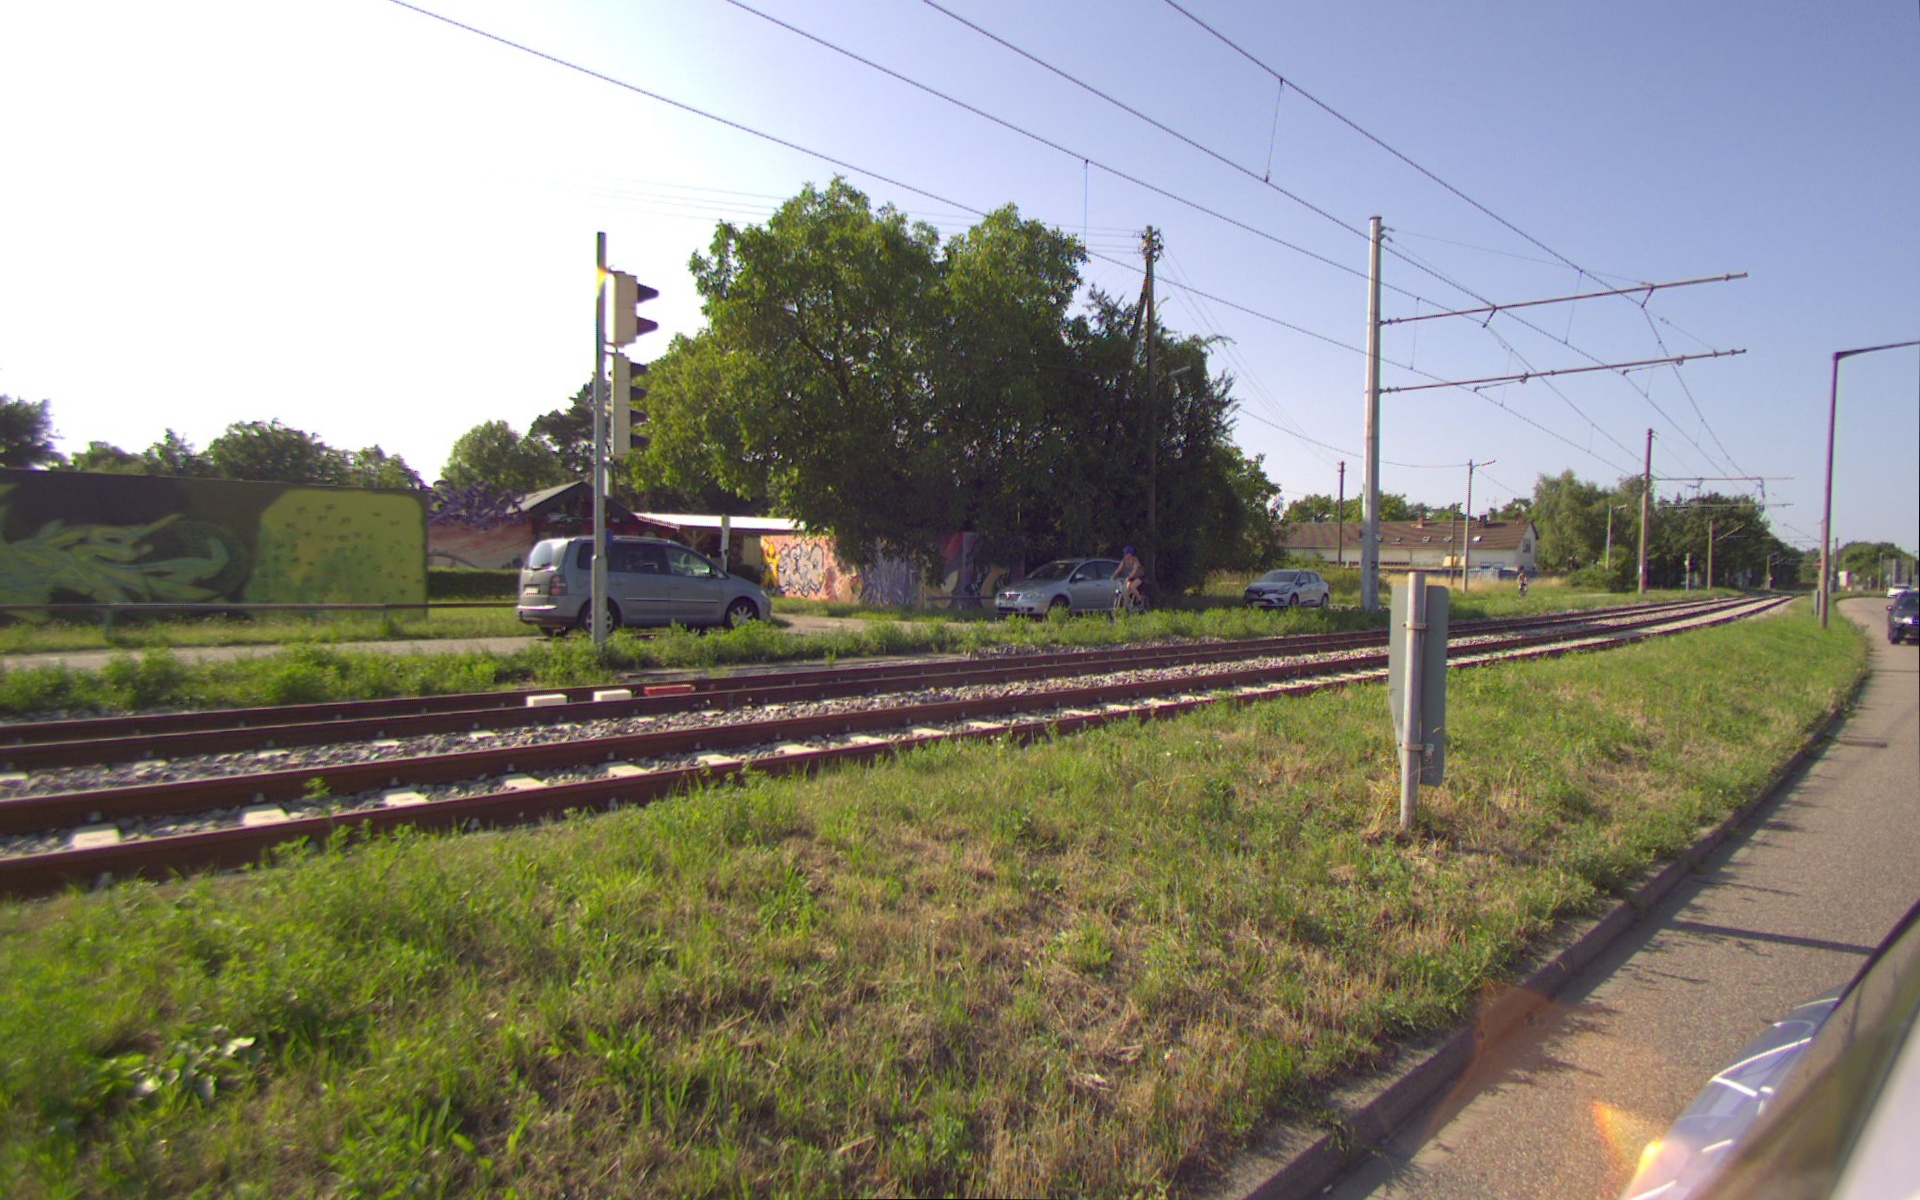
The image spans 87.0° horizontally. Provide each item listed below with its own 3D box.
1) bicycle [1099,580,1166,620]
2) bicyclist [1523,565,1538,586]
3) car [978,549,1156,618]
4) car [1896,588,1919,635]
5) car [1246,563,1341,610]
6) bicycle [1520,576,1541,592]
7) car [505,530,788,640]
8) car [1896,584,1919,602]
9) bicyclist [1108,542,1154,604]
[{"bbox_3d":[4.120,-0.020,24.104,1.814,0.921,0.643,-1,1,-45],"label":"bicycle"},{"bbox_3d":[34.339,-1.456,60.910,0.639,1.248,0.778,1,1,44],"label":"bicyclist"},{"bbox_3d":[2.822,-0.426,26.002,4.645,1.610,1.911,0,2,-41],"label":"car"},{"bbox_3d":[30.031,0.332,30.991,4.087,1.372,1.844,0,0,-45],"label":"car"},{"bbox_3d":[11.456,-0.467,34.601,1.534,1.466,4.068,3,2,42],"label":"car"},{"bbox_3d":[34.356,-0.976,60.963,0.643,0.921,1.784,1,1,44],"label":"bicycle"},{"bbox_3d":[-5.193,-0.271,17.235,1.523,1.630,4.413,3,2,44],"label":"car"},{"bbox_3d":[92.400,-0.705,98.392,1.963,1.639,4.241,2,2,43],"label":"car"},{"bbox_3d":[4.067,-0.630,24.043,0.946,1.440,0.630,0,1,-44],"label":"bicyclist"}]
